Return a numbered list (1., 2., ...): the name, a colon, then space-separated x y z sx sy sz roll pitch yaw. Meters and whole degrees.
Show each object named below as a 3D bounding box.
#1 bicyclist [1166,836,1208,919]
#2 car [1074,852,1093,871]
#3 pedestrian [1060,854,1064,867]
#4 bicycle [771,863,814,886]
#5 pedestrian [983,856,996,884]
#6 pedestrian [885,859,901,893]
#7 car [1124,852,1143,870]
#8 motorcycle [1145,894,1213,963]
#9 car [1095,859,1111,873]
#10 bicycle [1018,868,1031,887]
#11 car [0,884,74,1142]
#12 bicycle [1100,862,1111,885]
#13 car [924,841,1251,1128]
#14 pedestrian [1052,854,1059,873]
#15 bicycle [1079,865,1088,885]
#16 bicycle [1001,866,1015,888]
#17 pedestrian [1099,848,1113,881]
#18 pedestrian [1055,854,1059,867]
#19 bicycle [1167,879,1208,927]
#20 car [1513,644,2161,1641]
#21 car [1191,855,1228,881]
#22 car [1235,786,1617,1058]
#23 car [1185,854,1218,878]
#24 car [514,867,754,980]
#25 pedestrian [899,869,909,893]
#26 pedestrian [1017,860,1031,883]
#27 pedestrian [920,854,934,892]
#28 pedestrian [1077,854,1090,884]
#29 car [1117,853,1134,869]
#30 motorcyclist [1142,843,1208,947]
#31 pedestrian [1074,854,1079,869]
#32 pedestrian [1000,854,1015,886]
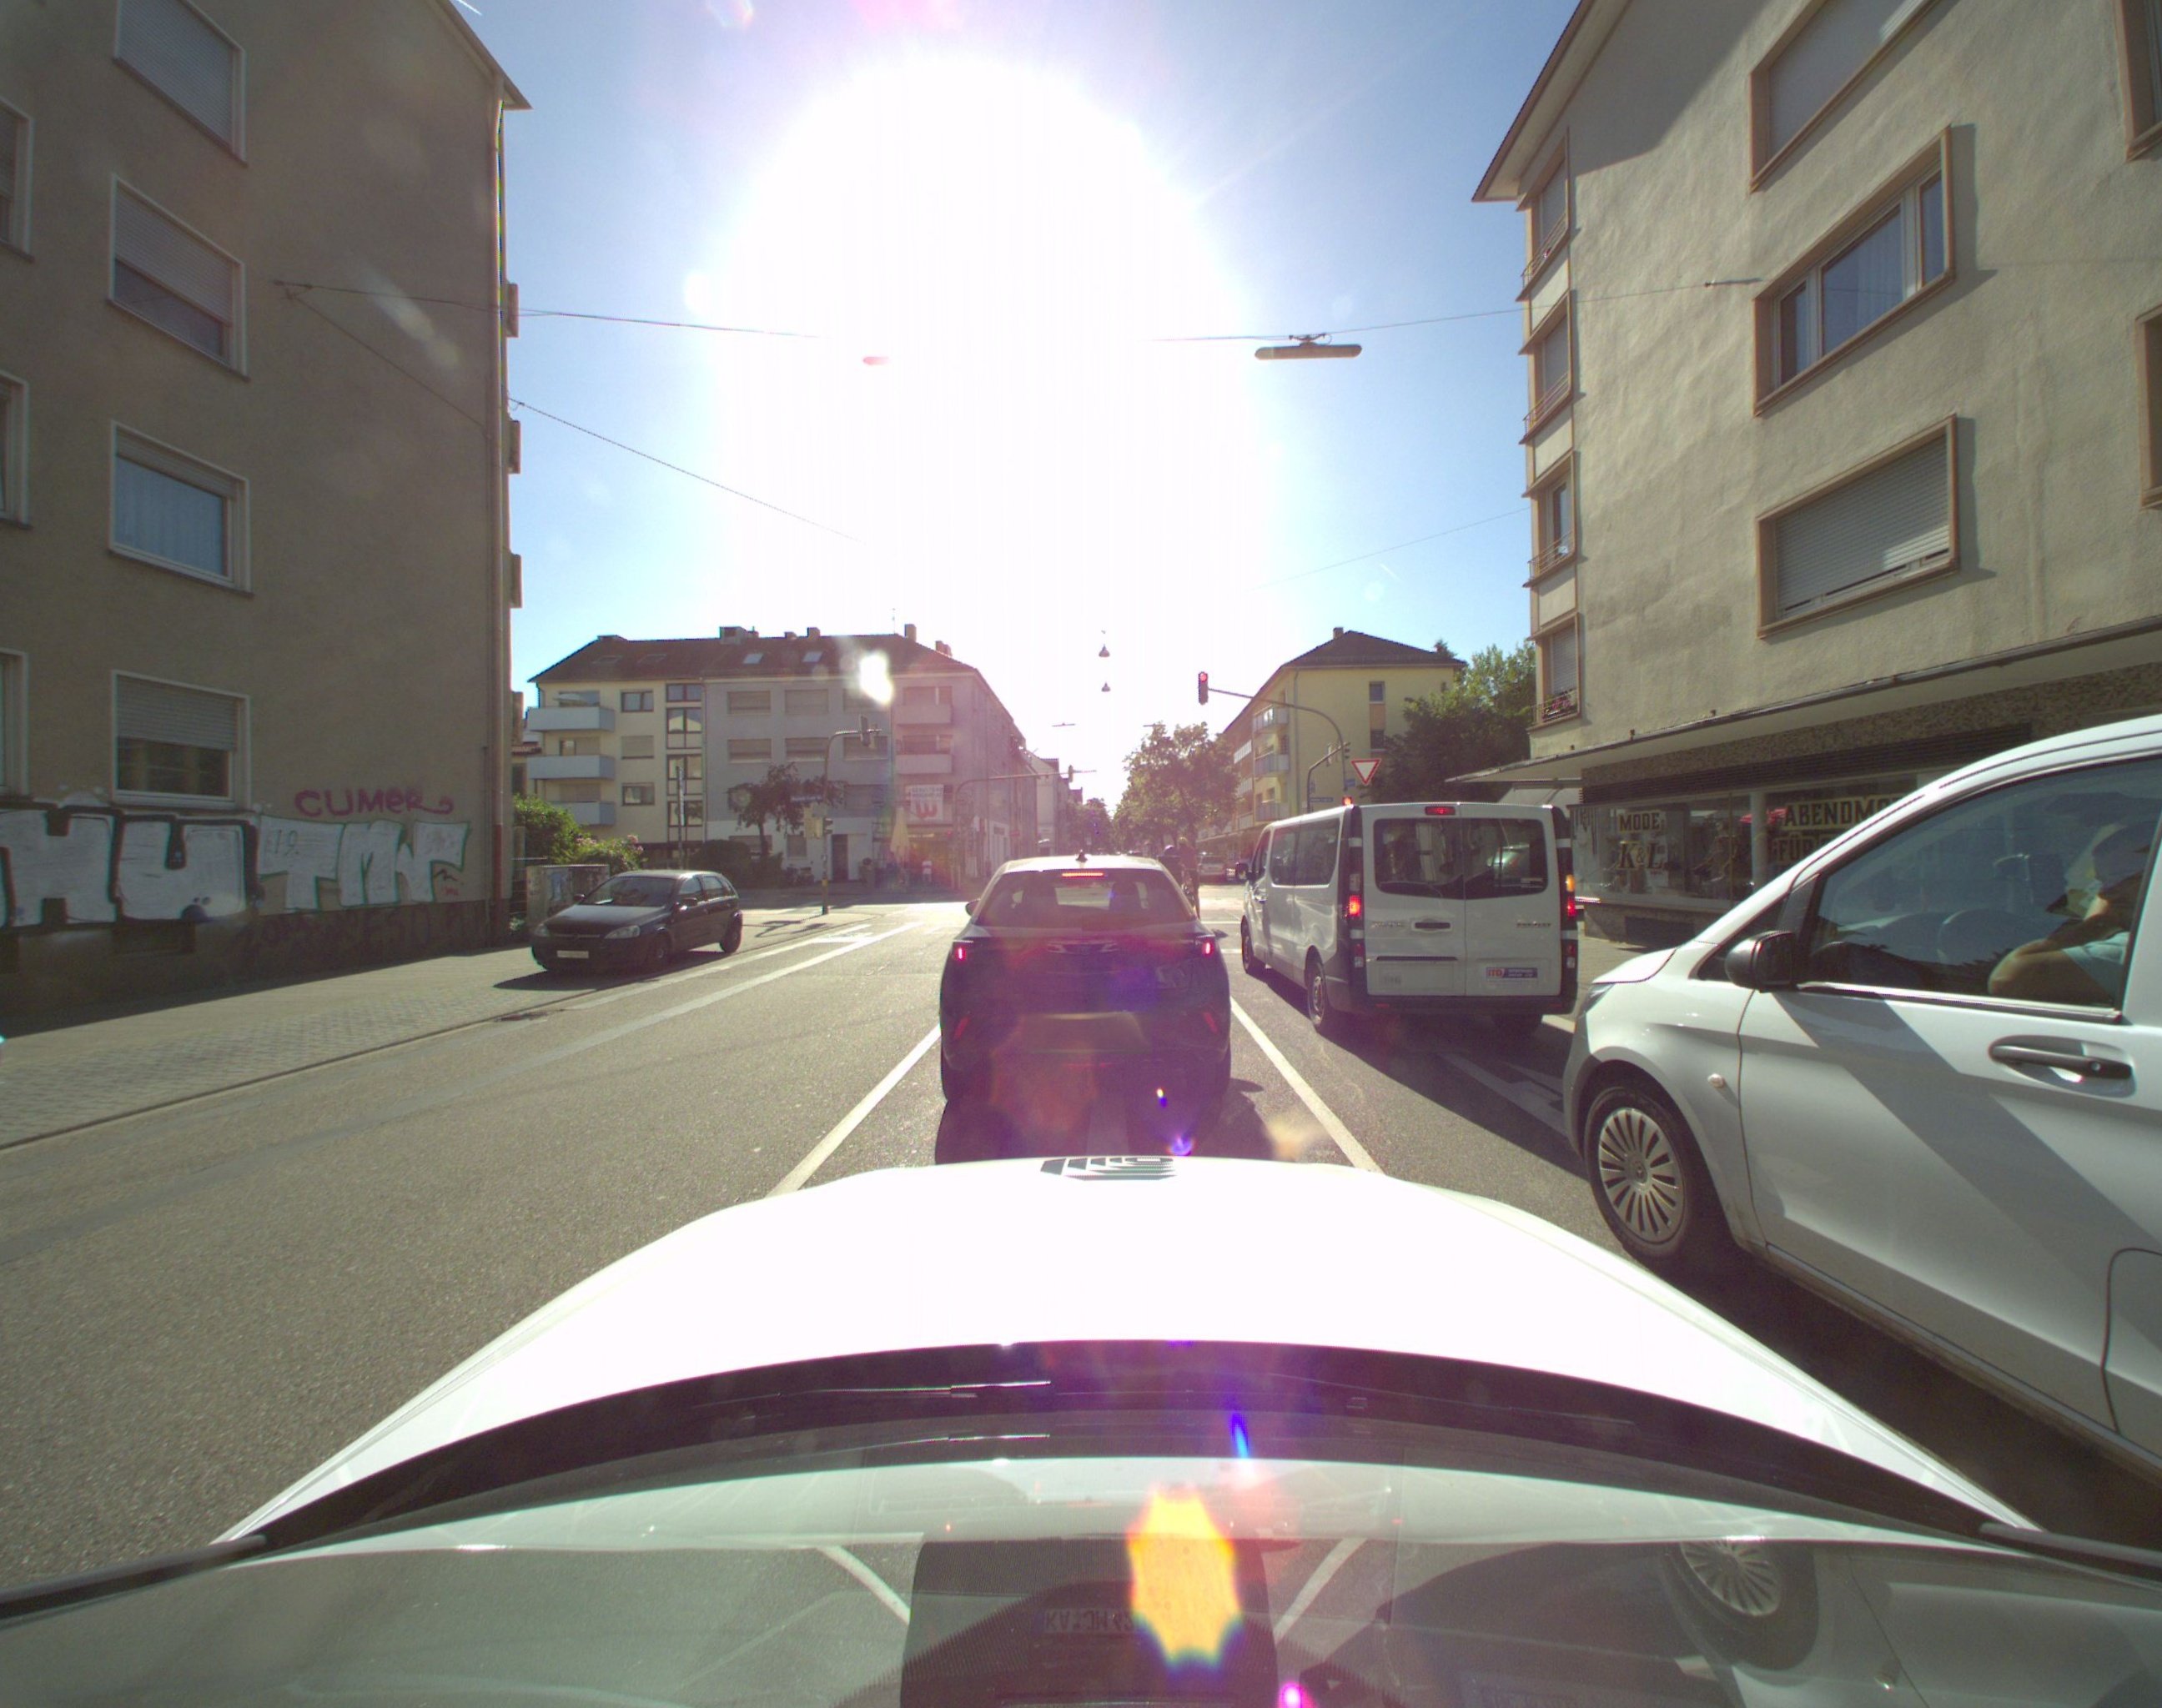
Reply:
1. bicyclist: 2.275 0.481 17.592 0.687 1.712 1.414 -1 0 0
2. car: 0.308 0.772 86.500 1.848 2.013 3.882 -1 0 2
3. pedestrian: -2.444 0.808 105.402 0.400 1.675 0.418 -1 0 1
4. bicycle: -15.376 1.073 43.376 2.103 1.172 0.735 -1 0 -22
5. pedestrian: -5.135 0.886 45.731 0.615 1.521 0.724 -1 0 -1
6. pedestrian: -8.734 1.008 37.781 0.582 1.521 0.649 -1 0 -1
7. car: 5.279 0.704 82.261 1.894 1.728 4.076 -1 0 3
8. motorcycle: 1.427 1.079 12.214 0.822 0.845 1.885 -1 0 1
9. car: 2.693 1.462 100.135 1.817 1.728 4.004 -1 0 3
10. bicycle: -3.056 1.257 44.114 0.520 0.992 2.339 -1 0 0
11. car: -7.111 0.917 2.597 1.711 1.465 4.817 0 0 1
12. bicycle: 1.321 1.038 43.671 0.520 1.147 2.170 -1 0 0
13. car: 0.042 0.713 6.454 1.765 1.530 3.999 -1 0 0
14. pedestrian: -2.279 0.813 72.038 0.568 1.690 0.588 -1 0 1
15. bicycle: 0.136 1.127 44.102 0.442 0.992 2.068 -1 0 0
16. bicycle: -3.943 1.232 44.223 0.520 1.147 2.283 -1 0 0
17. pedestrian: 1.317 0.561 43.551 0.704 1.701 0.802 -1 0 0
18. pedestrian: -3.095 0.835 105.734 0.400 1.675 0.418 -1 0 1
19. bicycle: 2.296 1.040 17.732 0.575 0.904 2.301 -1 0 0
20. car: 2.933 0.528 1.261 1.831 1.869 4.995 -1 0 -1
21. car: 7.416 0.764 47.205 1.628 1.433 3.958 -1 0 2
22. car: 2.997 0.496 8.434 1.986 1.979 4.896 1 0 1
23. car: 7.612 0.750 51.838 1.628 1.433 4.002 -1 0 2
24. car: -6.770 0.962 12.827 1.610 1.425 3.711 1 0 1
25. pedestrian: -8.204 1.241 37.756 0.354 1.092 0.461 -1 0 -1
26. pedestrian: -3.065 0.931 43.789 0.704 1.253 0.802 -1 0 0
27. pedestrian: -7.249 0.875 38.388 0.560 1.775 0.582 -1 0 -7
28. pedestrian: 0.120 0.811 43.953 0.678 1.606 0.762 -1 0 0
29. car: 5.069 0.780 93.251 1.894 1.728 4.003 -1 0 2
30. motorcyclist: 1.419 0.606 12.466 0.861 1.502 1.160 -1 0 1
31. pedestrian: -0.520 0.805 88.252 0.486 1.690 0.588 -1 0 1
32. pedestrian: -3.974 0.845 43.844 0.704 1.678 0.802 -1 0 0
